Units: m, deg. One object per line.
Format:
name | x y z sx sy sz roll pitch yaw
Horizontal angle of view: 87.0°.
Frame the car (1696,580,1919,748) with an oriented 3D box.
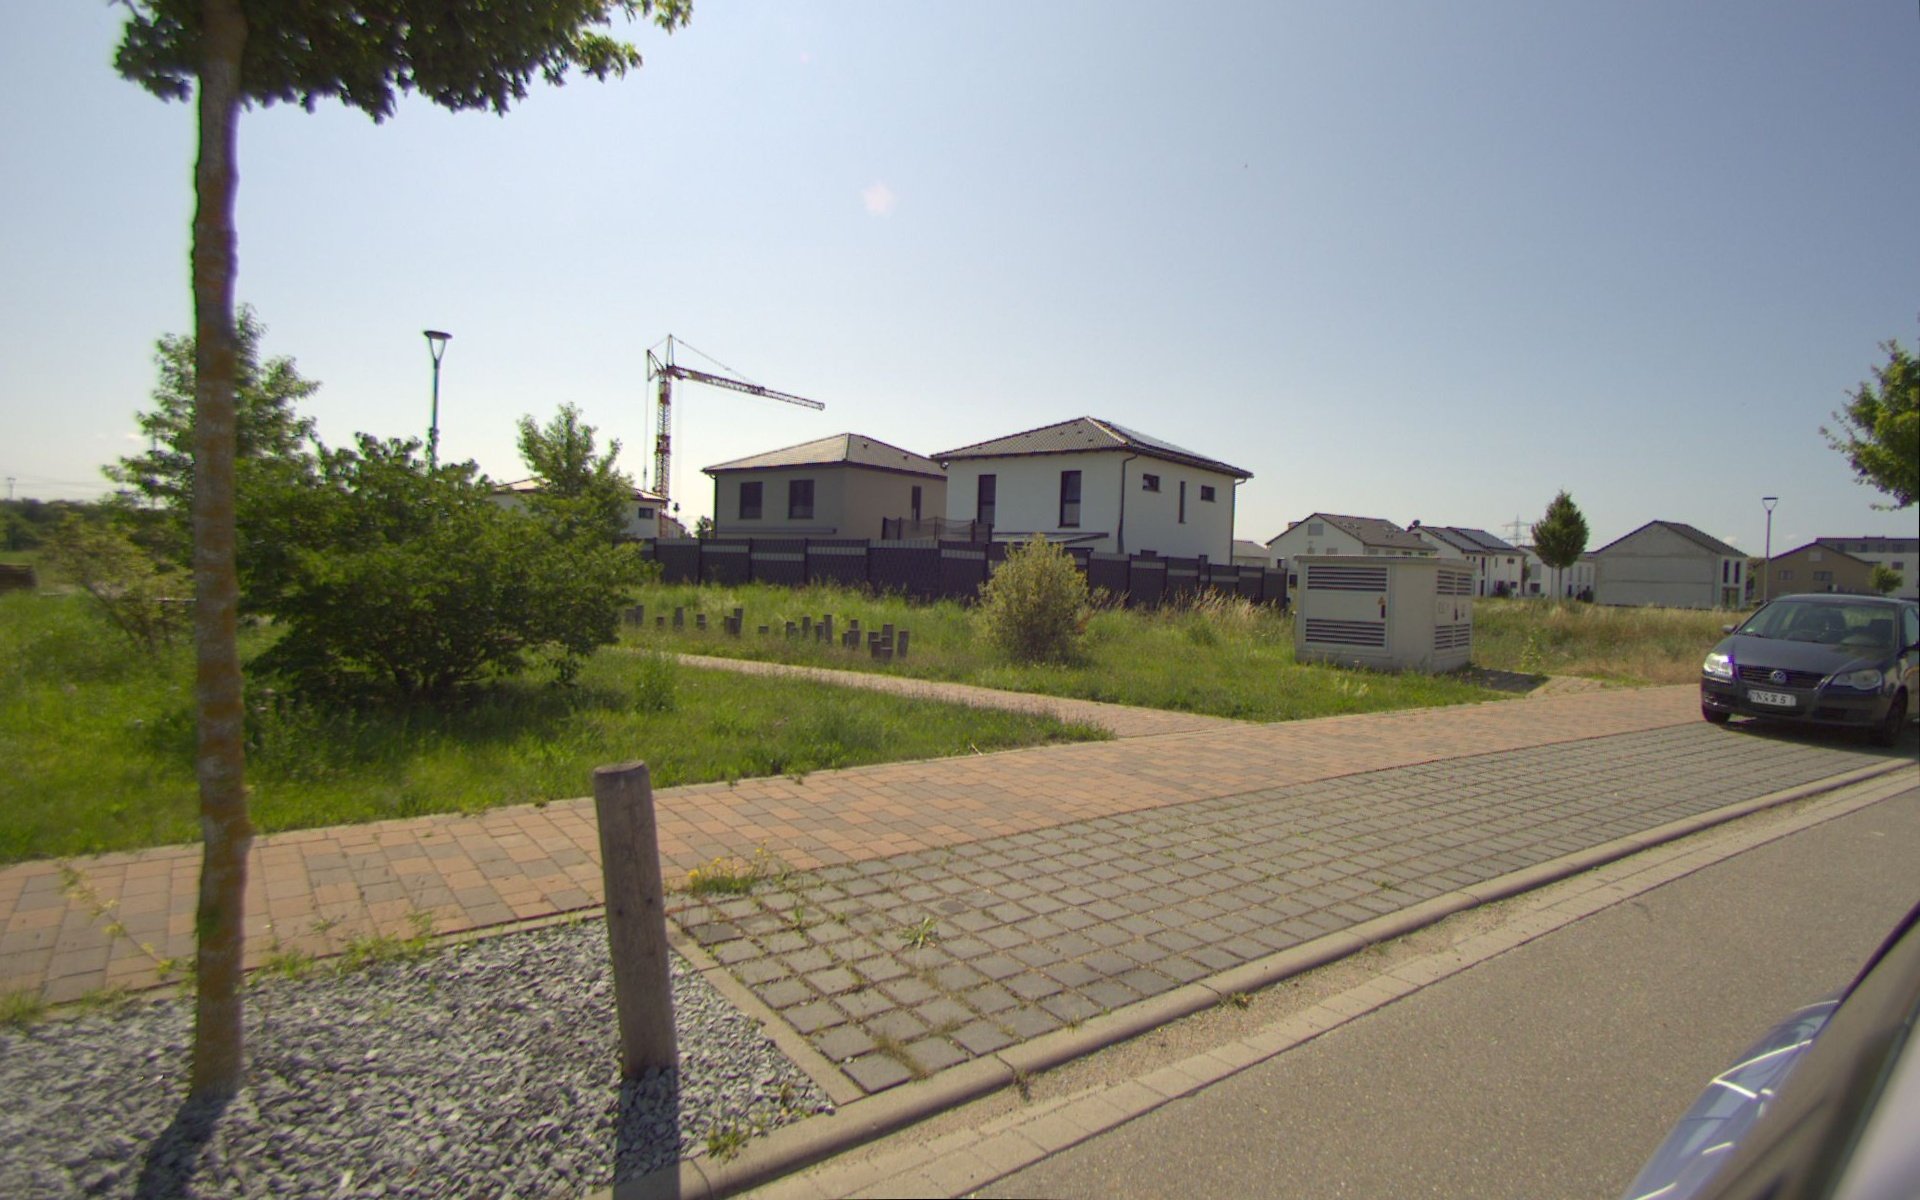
car | 9.806 0.604 11.209 3.606 1.493 1.604 1 3 -37
